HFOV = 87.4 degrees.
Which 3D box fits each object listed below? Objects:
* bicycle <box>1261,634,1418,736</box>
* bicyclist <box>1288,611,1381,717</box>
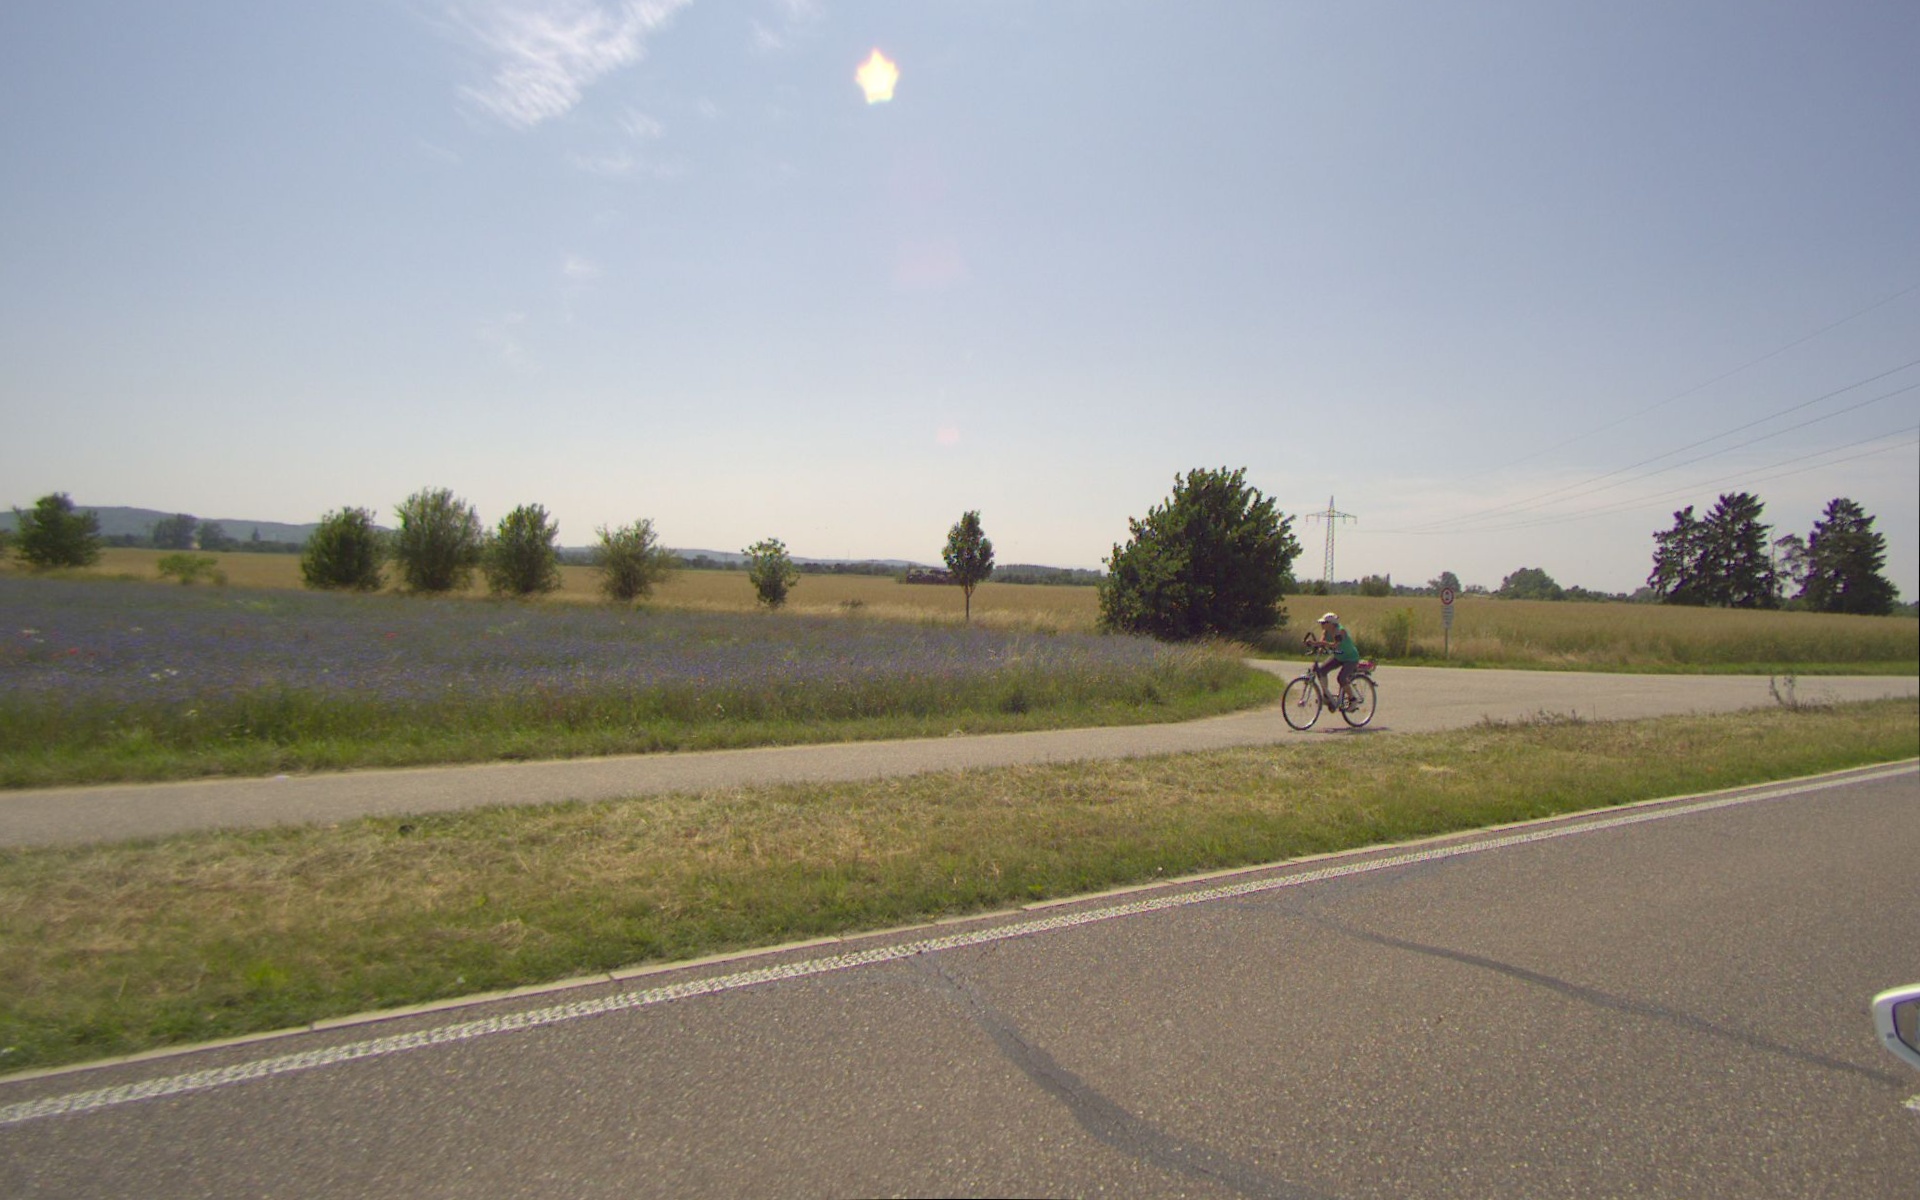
[{"bbox_3d":[5.143,1.104,13.567,2.190,1.245,0.759,1,1,-31],"label":"bicycle"},{"bbox_3d":[5.053,0.843,13.559,0.954,1.349,0.698,1,1,-30],"label":"bicyclist"}]
